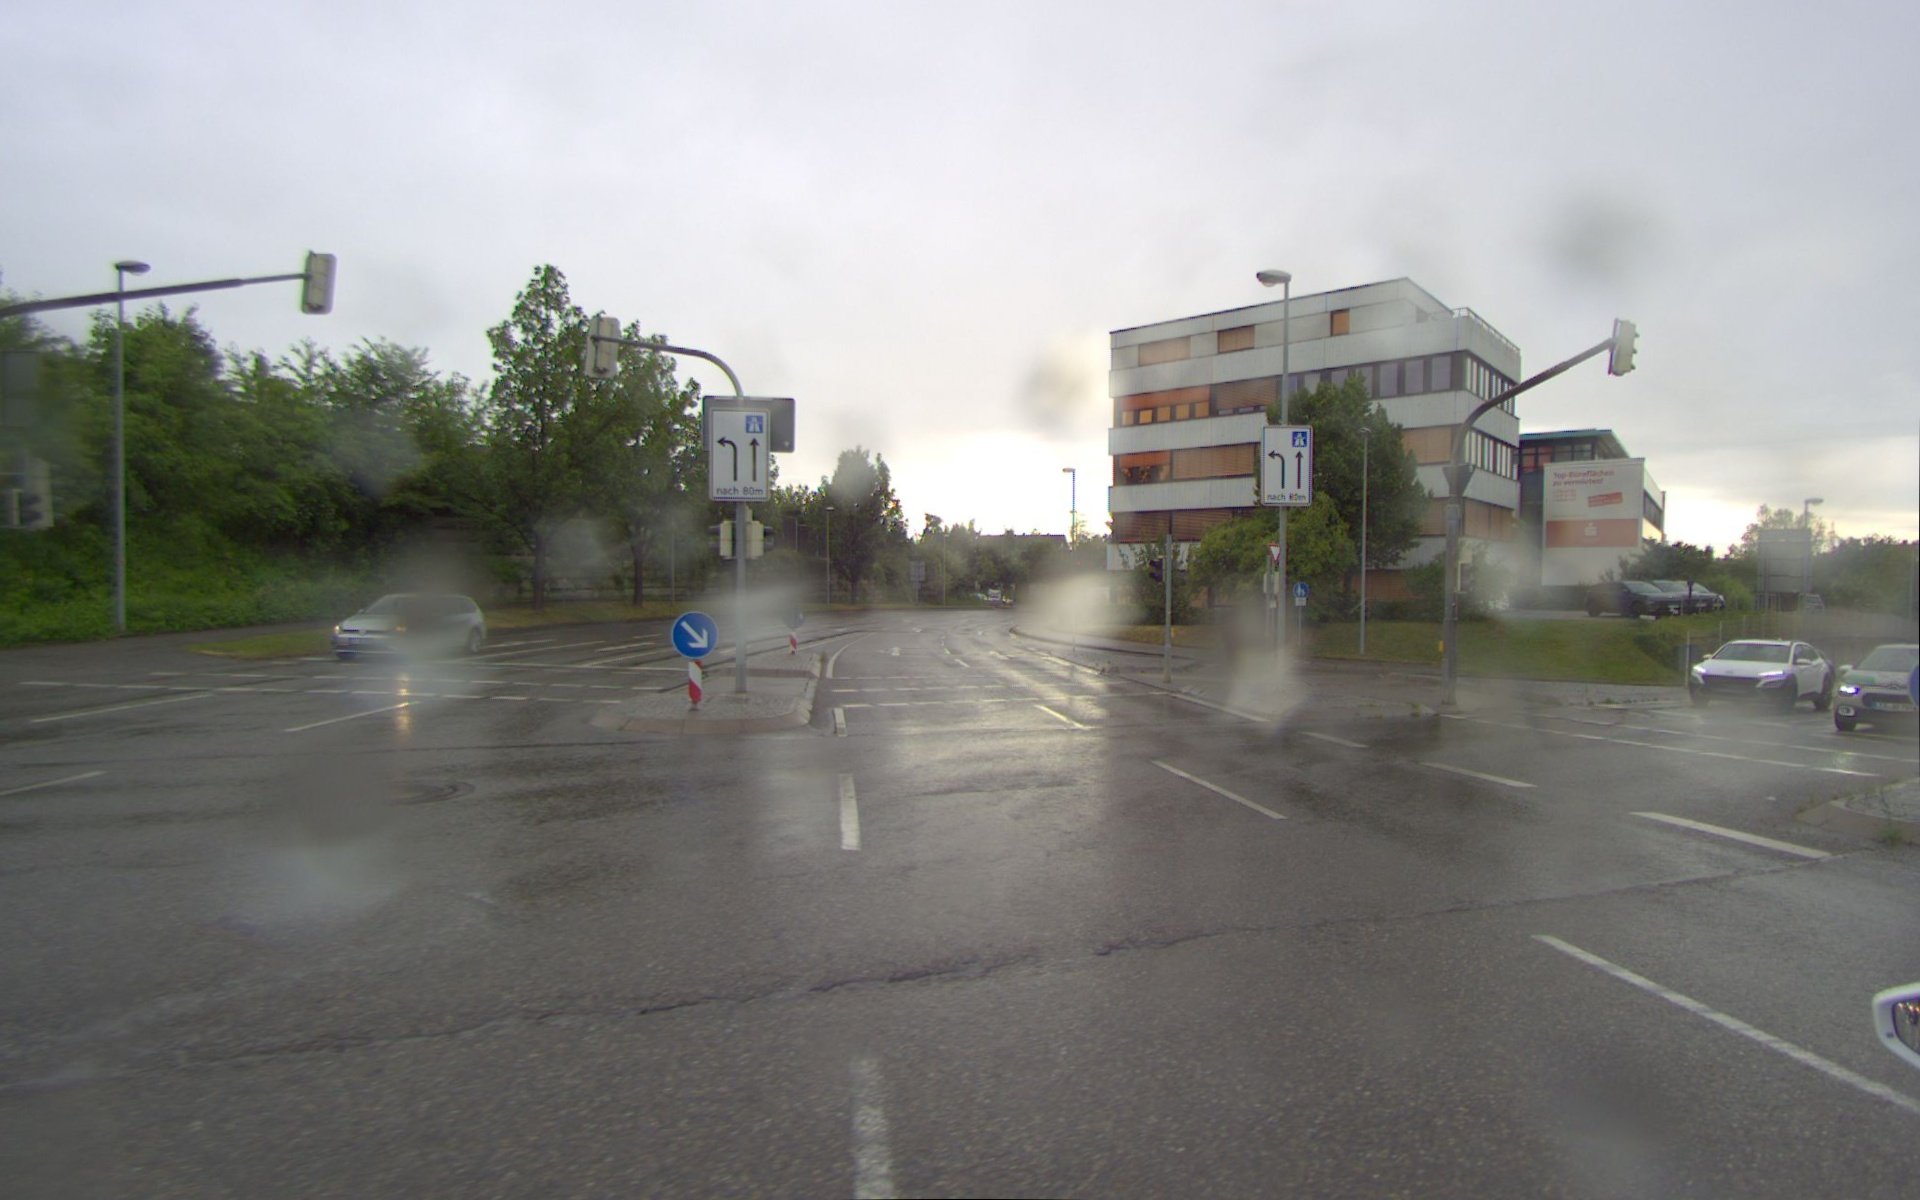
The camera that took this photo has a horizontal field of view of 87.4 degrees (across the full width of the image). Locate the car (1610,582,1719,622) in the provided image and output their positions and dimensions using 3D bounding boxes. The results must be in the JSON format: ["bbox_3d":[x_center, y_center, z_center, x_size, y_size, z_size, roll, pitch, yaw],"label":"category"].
[{"bbox_3d":[32.053,0.081,45.838,1.867,1.607,3.997,3,0,-5],"label":"car"}]

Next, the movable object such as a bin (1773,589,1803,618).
[{"bbox_3d":[45.204,0.208,54.813,1.437,1.456,1.072,3,0,-45],"label":"movable object such as a bin"}]

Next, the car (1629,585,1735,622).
[{"bbox_3d":[34.283,0.160,47.834,1.867,1.607,3.997,3,0,-5],"label":"car"}]

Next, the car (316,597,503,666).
[{"bbox_3d":[-12.483,0.680,23.166,1.728,1.381,4.532,2,0,1],"label":"car"}]

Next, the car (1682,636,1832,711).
[{"bbox_3d":[18.298,1.637,23.012,3.962,1.514,1.708,2,-1,-36],"label":"car"}]

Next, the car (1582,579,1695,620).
[{"bbox_3d":[29.763,-0.039,44.219,1.868,1.607,3.993,3,0,-9],"label":"car"}]

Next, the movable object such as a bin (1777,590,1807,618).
[{"bbox_3d":[46.284,0.247,55.871,1.437,1.456,1.072,3,0,-45],"label":"movable object such as a bin"}]

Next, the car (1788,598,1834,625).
[{"bbox_3d":[52.950,0.718,62.488,1.808,1.461,3.975,3,0,45],"label":"car"}]

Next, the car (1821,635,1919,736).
[{"bbox_3d":[16.293,1.412,17.072,3.962,1.514,1.649,2,-1,-36],"label":"car"}]
